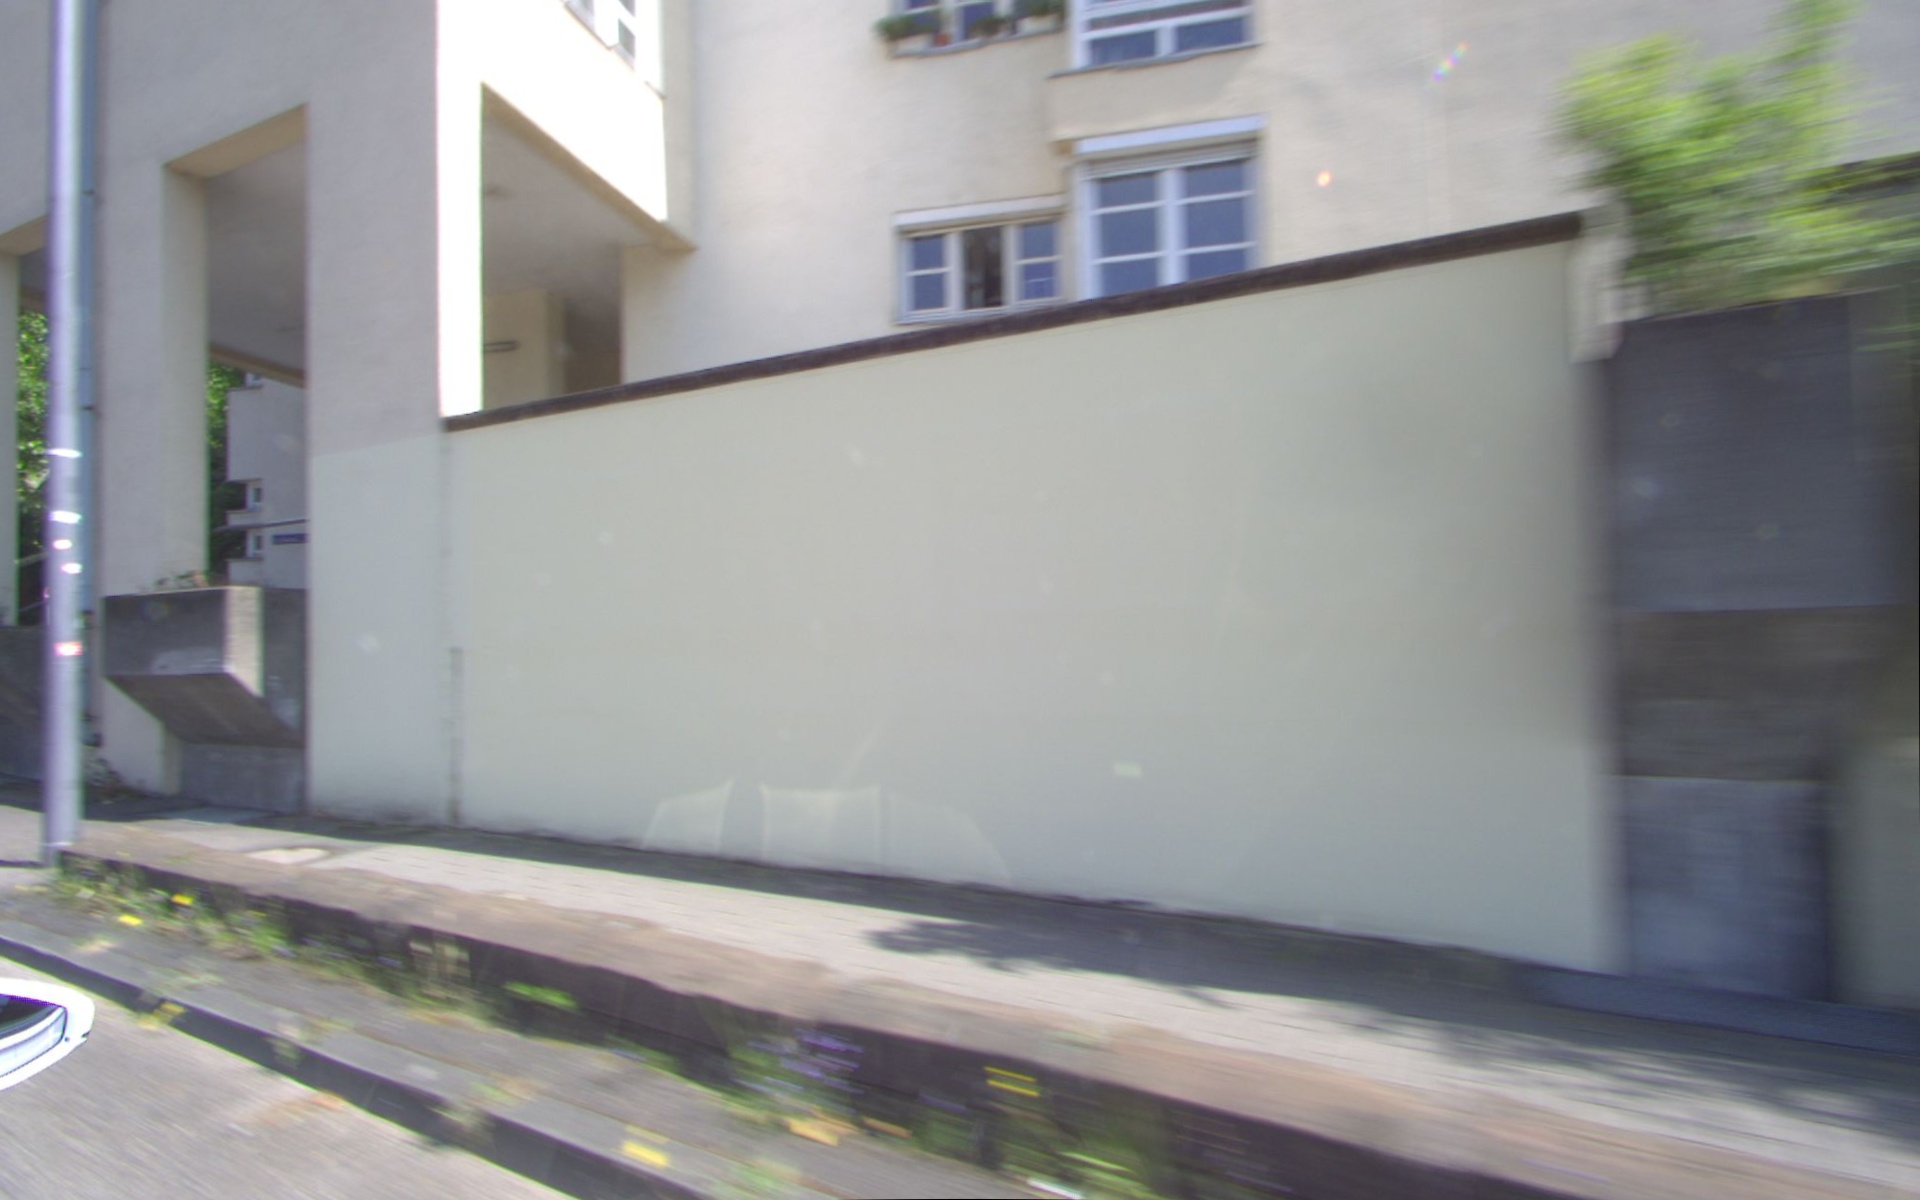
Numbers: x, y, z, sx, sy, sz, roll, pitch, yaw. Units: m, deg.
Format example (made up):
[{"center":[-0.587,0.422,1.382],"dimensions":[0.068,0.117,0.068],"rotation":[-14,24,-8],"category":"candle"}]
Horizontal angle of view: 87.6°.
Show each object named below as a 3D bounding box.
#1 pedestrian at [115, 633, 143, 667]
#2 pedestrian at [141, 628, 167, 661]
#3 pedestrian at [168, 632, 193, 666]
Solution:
[{"center":[-42.835,2.583,51.631],"dimensions":[0.710,1.777,0.794],"rotation":[0,-3,21],"category":"pedestrian"},{"center":[-43.231,2.393,53.707],"dimensions":[0.654,1.777,0.794],"rotation":[0,-3,21],"category":"pedestrian"},{"center":[-41.290,2.606,53.031],"dimensions":[0.654,1.777,0.794],"rotation":[0,-3,21],"category":"pedestrian"}]
